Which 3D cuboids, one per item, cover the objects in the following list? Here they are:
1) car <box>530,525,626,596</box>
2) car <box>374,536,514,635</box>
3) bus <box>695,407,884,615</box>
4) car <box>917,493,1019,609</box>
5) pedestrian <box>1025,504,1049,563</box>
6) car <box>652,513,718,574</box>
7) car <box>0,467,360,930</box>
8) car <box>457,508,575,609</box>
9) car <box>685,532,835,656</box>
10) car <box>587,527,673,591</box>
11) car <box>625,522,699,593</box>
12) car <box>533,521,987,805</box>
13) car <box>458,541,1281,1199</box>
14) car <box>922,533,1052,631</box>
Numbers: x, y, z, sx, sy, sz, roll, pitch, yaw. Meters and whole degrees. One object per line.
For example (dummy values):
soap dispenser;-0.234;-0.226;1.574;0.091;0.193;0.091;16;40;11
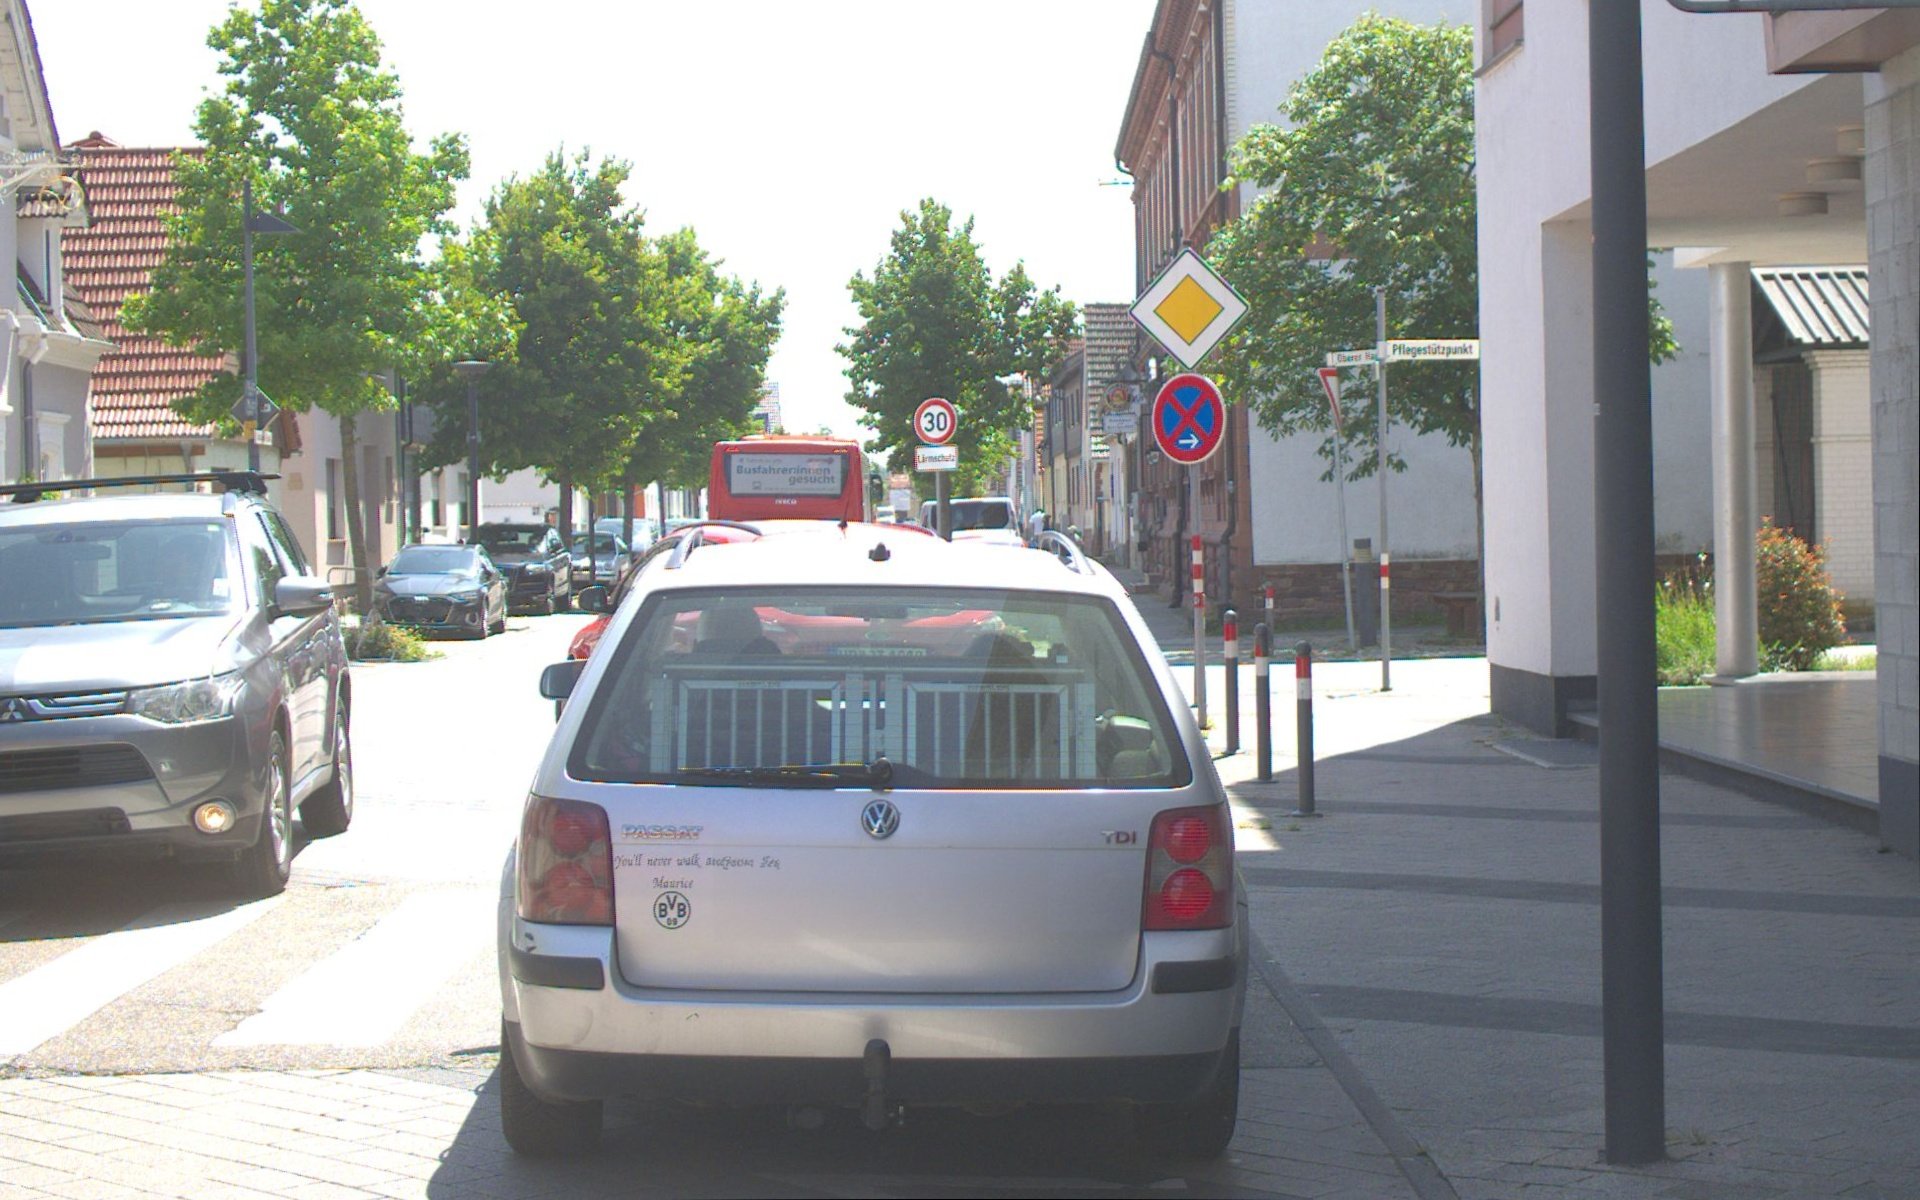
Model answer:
car;-8.873;-0.937;80.093;1.811;1.553;4.000;-1;1;-1
car;-8.011;-0.254;53.643;1.605;1.433;4.065;-1;1;-1
bus;-2.863;-1.530;61.227;2.740;3.287;12.706;-1;1;0
car;0.124;-0.930;64.383;1.787;2.075;3.626;-1;1;-1
pedestrian;2.188;-1.900;97.772;0.606;1.661;0.789;-1;1;-2
car;-8.433;-1.749;105.691;1.720;1.795;4.000;-1;1;-1
car;-3.682;0.332;14.988;1.674;1.710;4.233;-2;1;-5
car;-8.404;-0.806;65.290;1.764;1.831;3.789;-1;1;-1
car;-2.393;-0.107;41.749;1.593;1.425;3.680;0;1;0
car;-8.293;-1.053;86.744;1.811;1.553;4.000;-1;1;-1
car;-8.607;-1.246;99.558;1.811;1.989;4.000;-1;1;-1
car;-1.222;0.273;19.285;1.676;1.425;3.681;0;1;-18
car;-0.215;0.584;8.948;1.677;1.425;3.680;1;1;-1
car;0.352;-0.283;49.061;1.719;1.304;3.626;-1;1;-1
